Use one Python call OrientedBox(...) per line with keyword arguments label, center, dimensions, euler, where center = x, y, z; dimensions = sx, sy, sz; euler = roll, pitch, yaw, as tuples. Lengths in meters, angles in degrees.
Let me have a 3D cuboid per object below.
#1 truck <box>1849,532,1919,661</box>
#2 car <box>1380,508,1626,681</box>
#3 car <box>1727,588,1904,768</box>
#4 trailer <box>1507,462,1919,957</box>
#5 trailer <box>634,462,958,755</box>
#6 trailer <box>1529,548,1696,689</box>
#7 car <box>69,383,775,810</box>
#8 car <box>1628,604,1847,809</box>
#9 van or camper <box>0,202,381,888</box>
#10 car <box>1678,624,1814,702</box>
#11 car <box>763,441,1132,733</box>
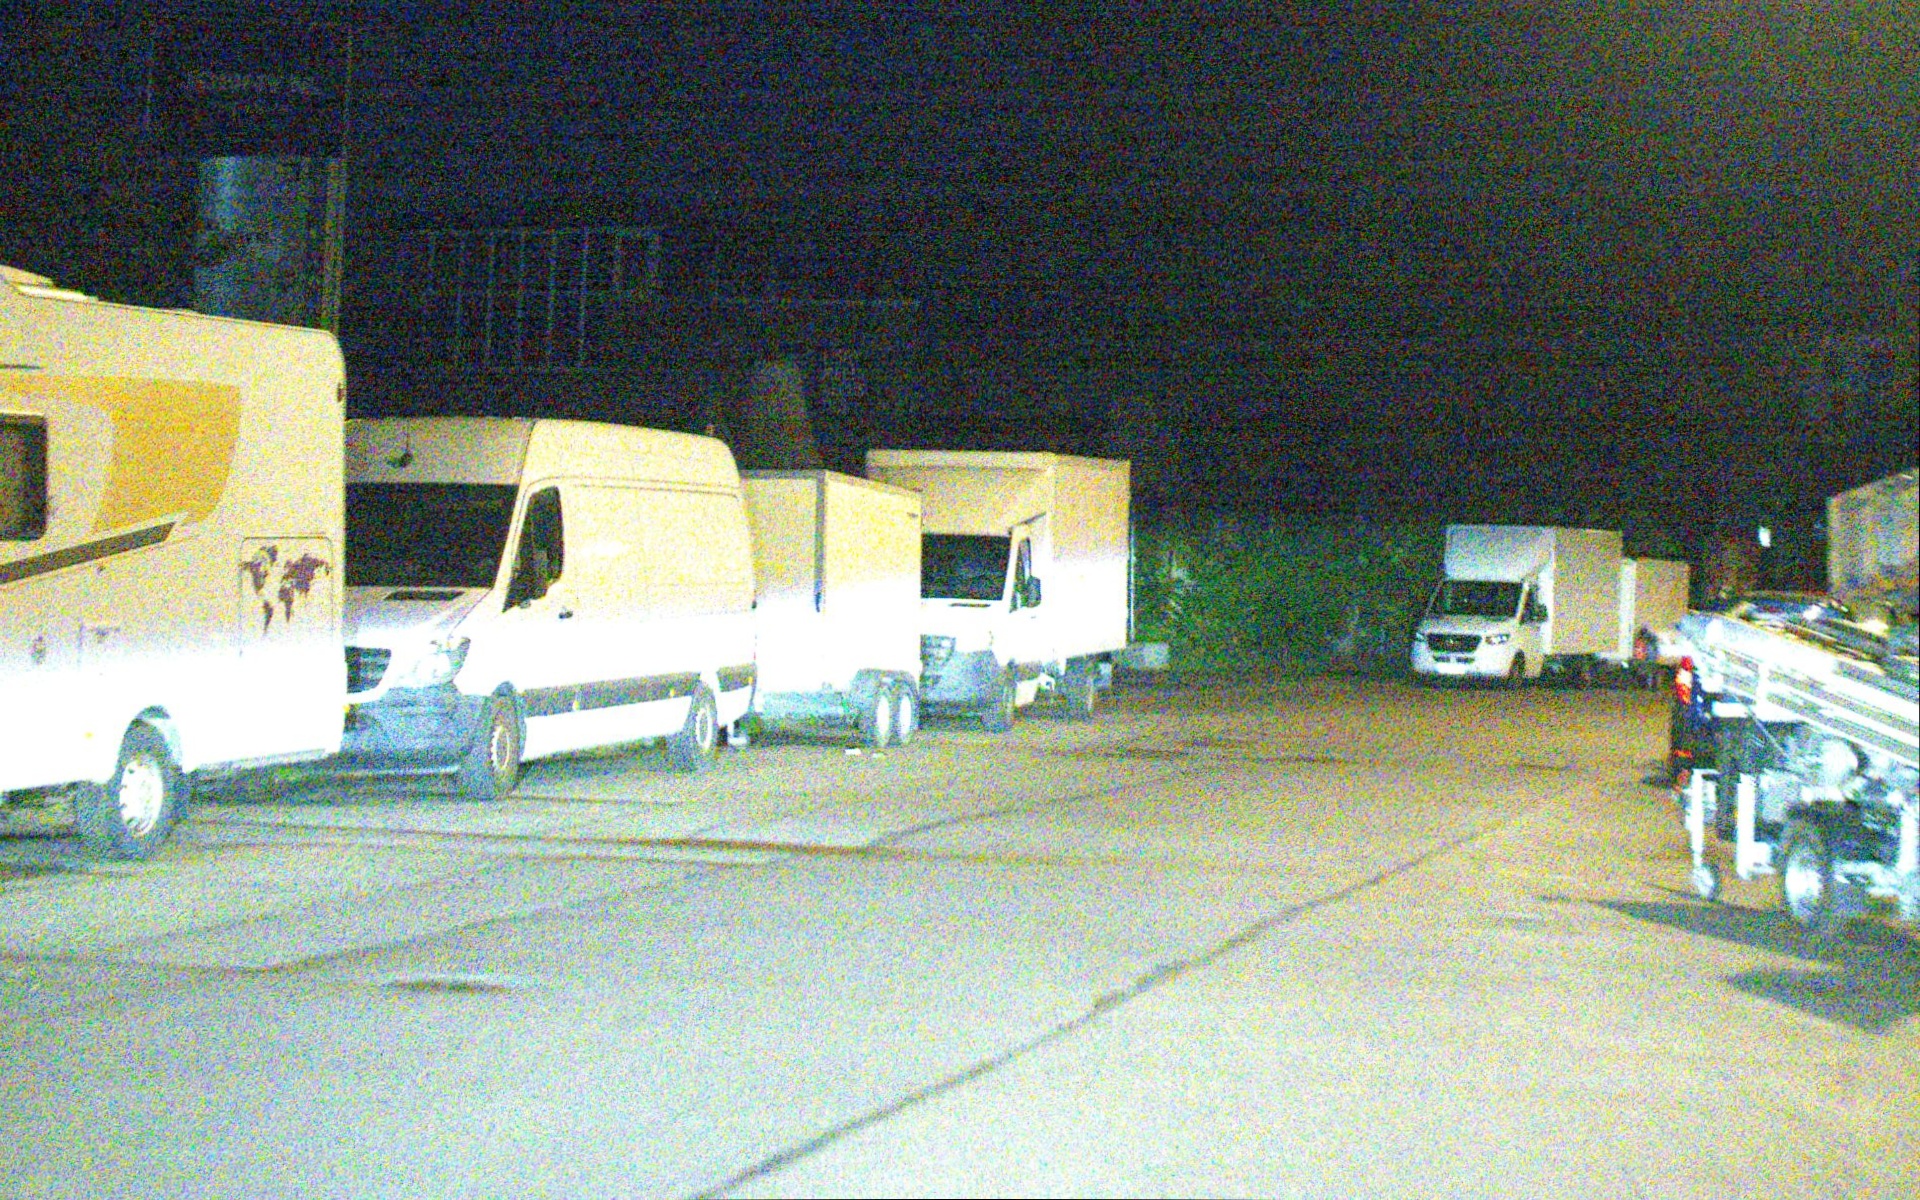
OrientedBox(label="truck", center=(28.076, -0.069, 97.352), dimensions=(1.998, 3.392, 8.959), euler=(5, 3, 38))
OrientedBox(label="car", center=(10.712, -0.116, 67.221), dimensions=(2.523, 3.160, 7.126), euler=(1, 1, 28))
OrientedBox(label="car", center=(9.659, 0.846, 38.733), dimensions=(1.722, 1.815, 3.997), euler=(4, 0, 15))
OrientedBox(label="trailer", center=(4.474, 0.470, 17.159), dimensions=(1.559, 2.153, 5.223), euler=(1, 0, -13))
OrientedBox(label="trailer", center=(-1.442, 0.048, 31.766), dimensions=(1.995, 2.519, 3.565), euler=(1, 1, 14))
OrientedBox(label="trailer", center=(13.872, 0.367, 72.879), dimensions=(1.997, 2.803, 4.695), euler=(3, 2, 29))
OrientedBox(label="car", center=(-3.553, -0.055, 24.768), dimensions=(2.520, 2.597, 7.087), euler=(1, 1, 13))
OrientedBox(label="car", center=(7.226, 0.932, 31.724), dimensions=(1.722, 1.655, 3.997), euler=(4, 0, 15))
OrientedBox(label="van or camper", center=(-5.473, -0.269, 15.970), dimensions=(2.521, 3.084, 7.439), euler=(1, 1, 16))
OrientedBox(label="car", center=(19.013, 1.533, 83.001), dimensions=(1.997, 1.693, 4.199), euler=(4, 1, 29))
OrientedBox(label="car", center=(0.036, -0.161, 38.388), dimensions=(2.520, 2.917, 7.197), euler=(1, 1, 13))
